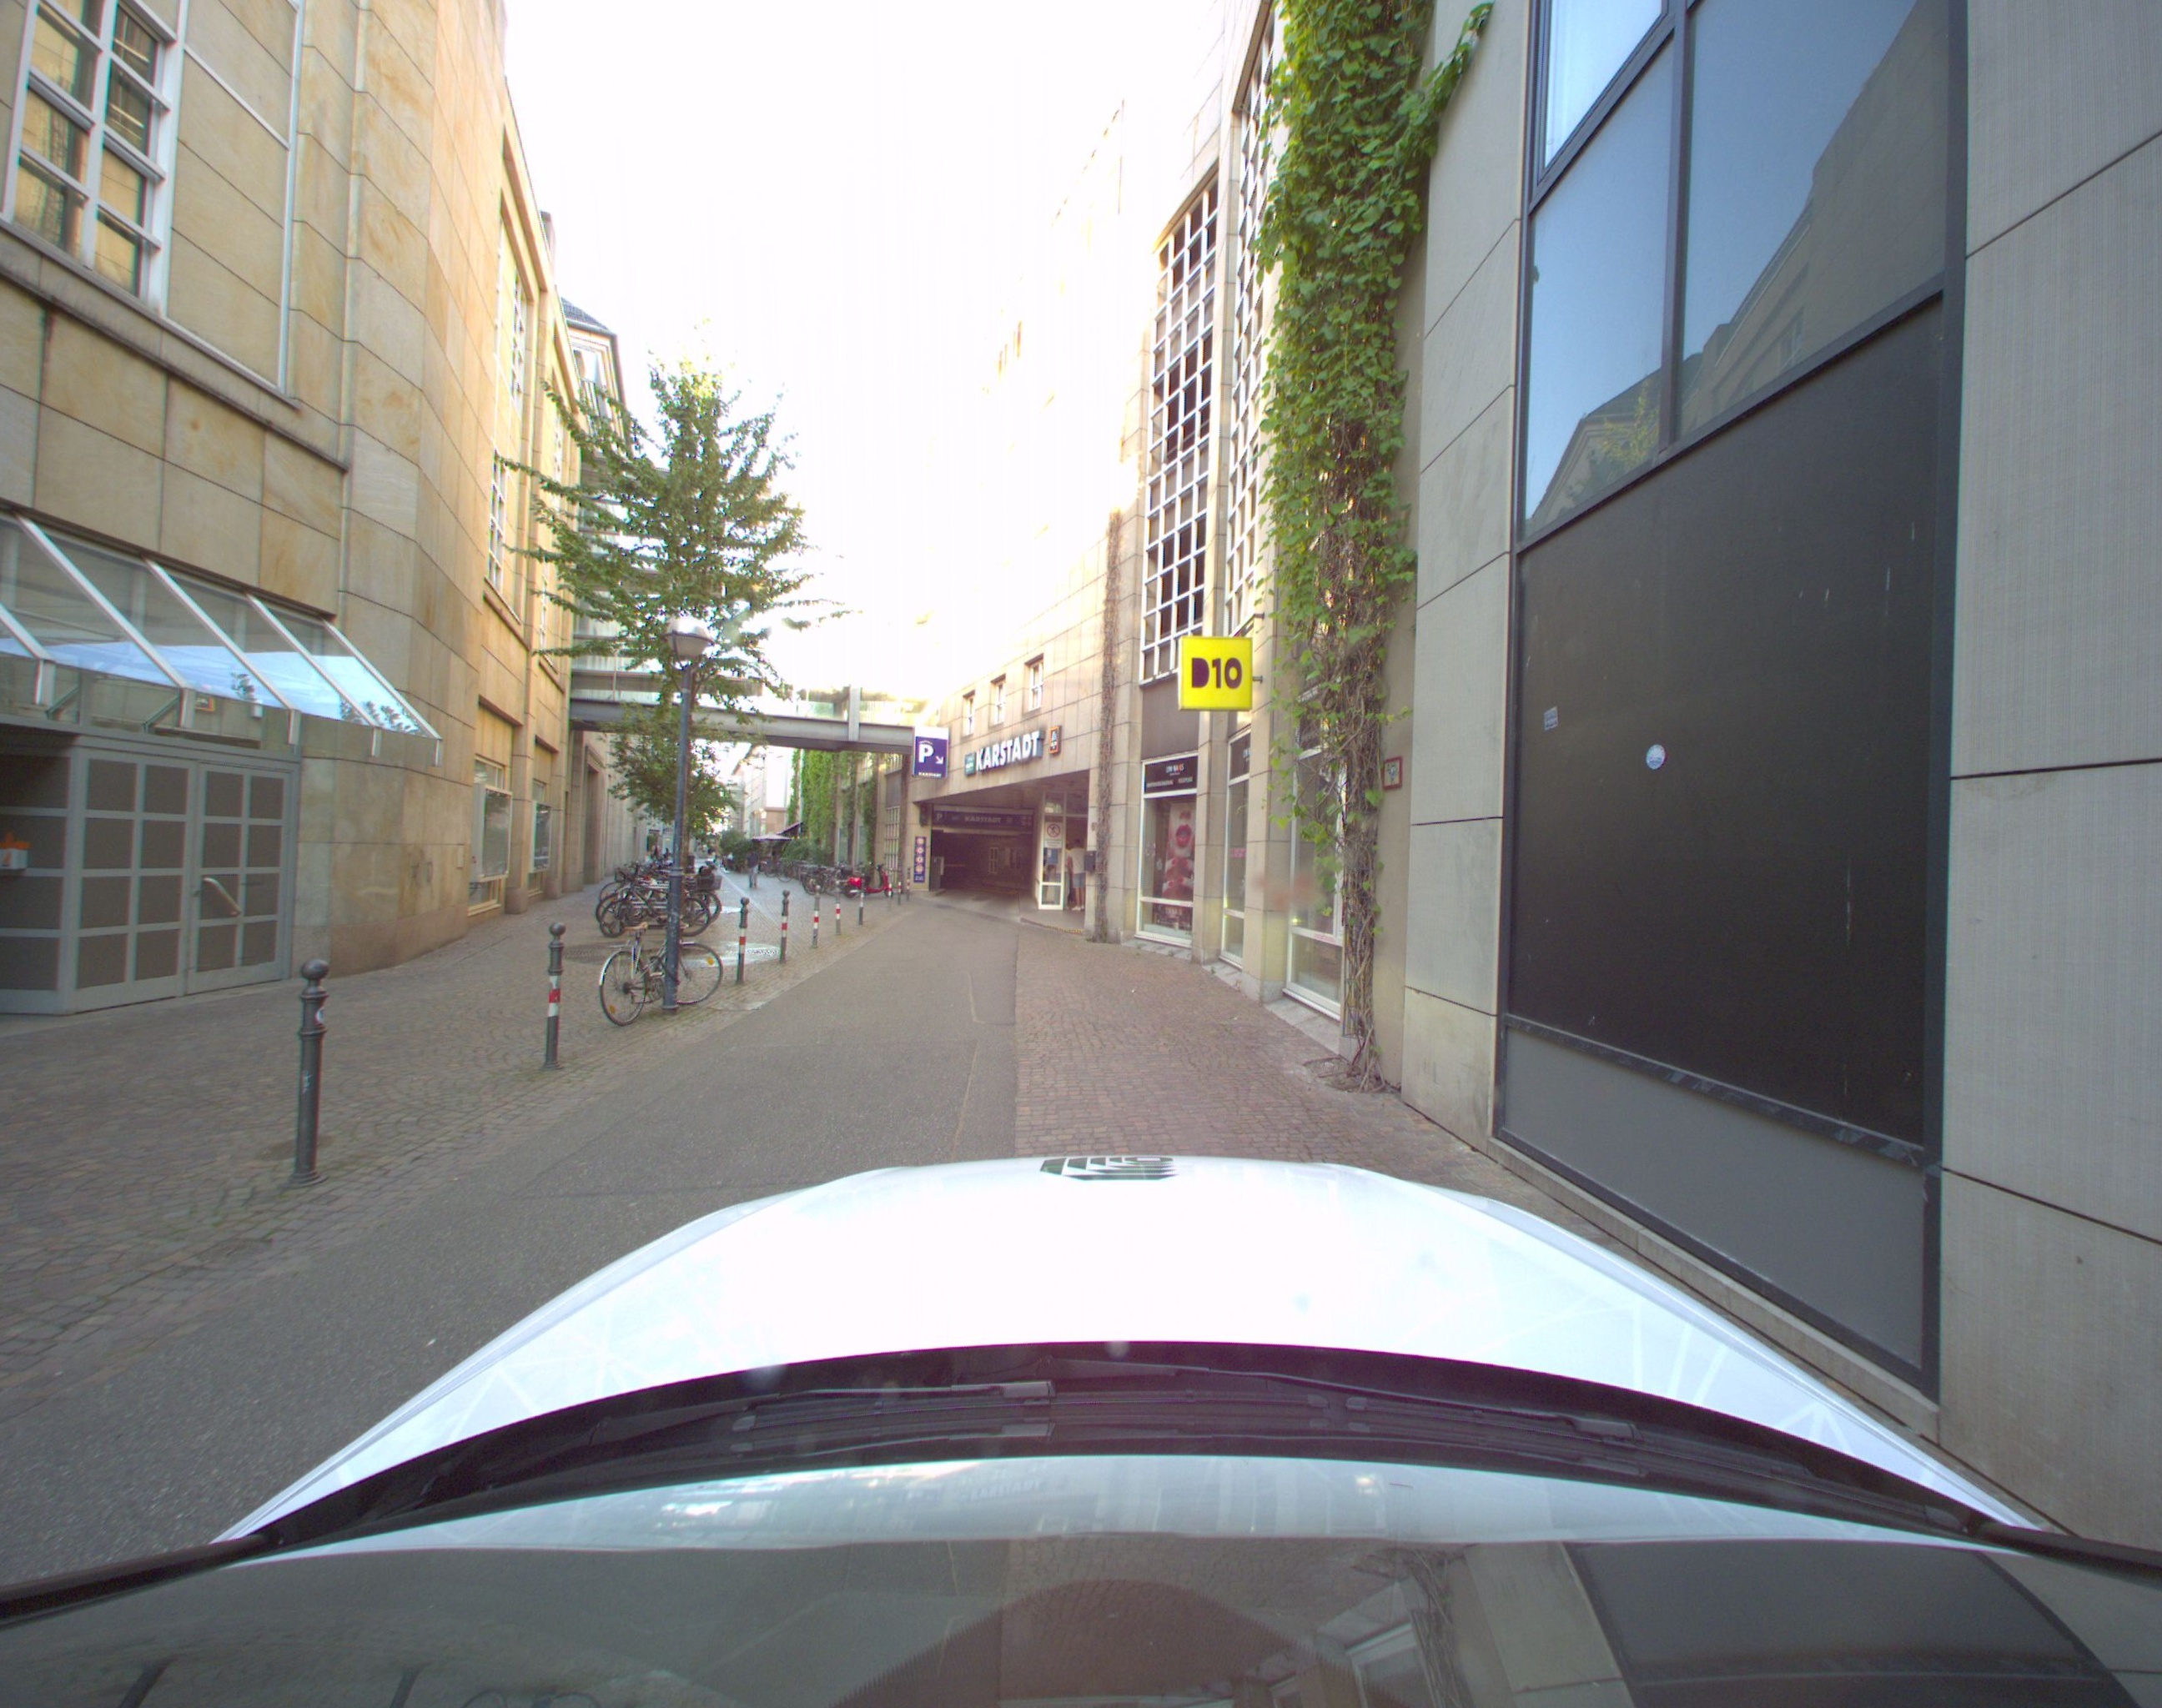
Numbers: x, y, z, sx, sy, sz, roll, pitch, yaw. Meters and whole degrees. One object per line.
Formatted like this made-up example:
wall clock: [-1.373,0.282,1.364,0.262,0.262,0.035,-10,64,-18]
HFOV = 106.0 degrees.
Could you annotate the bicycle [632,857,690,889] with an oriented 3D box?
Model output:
bicycle: [-16.251,0.722,31.547,1.920,1.182,0.691,2,0,-22]

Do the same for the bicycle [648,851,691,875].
bicycle: [-21.503,0.483,42.599,1.920,1.182,0.691,2,0,-22]

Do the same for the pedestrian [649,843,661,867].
pedestrian: [-33.130,0.073,63.320,0.778,1.804,0.628,1,-1,-27]

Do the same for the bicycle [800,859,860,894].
bicycle: [-9.101,0.800,29.534,2.003,1.182,0.796,0,0,-24]

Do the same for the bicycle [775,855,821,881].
bicycle: [-13.294,0.660,38.295,2.003,1.182,0.688,0,0,-24]

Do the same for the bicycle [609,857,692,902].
bicycle: [-11.899,0.712,22.571,1.920,1.182,0.691,2,0,-22]

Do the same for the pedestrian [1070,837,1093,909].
pedestrian: [0.018,0.502,21.522,0.540,1.861,0.408,2,0,1]

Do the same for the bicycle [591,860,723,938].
bicycle: [-7.257,0.754,14.053,1.922,1.261,0.802,2,0,-25]

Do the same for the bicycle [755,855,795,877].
bicycle: [-16.708,0.627,44.467,2.003,1.182,0.688,0,0,-24]

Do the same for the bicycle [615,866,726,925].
bicycle: [-8.175,0.826,16.305,1.922,1.101,0.690,2,0,-25]

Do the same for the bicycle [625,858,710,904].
bicycle: [-11.047,0.725,21.833,1.920,1.182,0.691,2,0,-22]

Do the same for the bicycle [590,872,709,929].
bicycle: [-8.107,0.872,15.390,1.922,0.994,0.690,2,0,-25]

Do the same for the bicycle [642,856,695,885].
bicycle: [-17.732,0.708,35.064,1.920,1.182,0.691,2,0,-22]

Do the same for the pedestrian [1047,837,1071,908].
pedestrian: [-0.586,0.488,21.703,0.540,1.846,0.408,2,0,1]

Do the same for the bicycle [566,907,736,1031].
bicycle: [-4.127,1.061,7.980,0.502,0.966,1.699,1,0,10]

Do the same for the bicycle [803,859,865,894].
bicycle: [-8.695,0.785,28.688,2.003,1.182,0.690,0,0,-24]

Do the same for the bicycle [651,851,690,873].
bicycle: [-23.424,0.472,46.496,1.920,1.182,0.691,2,0,-22]

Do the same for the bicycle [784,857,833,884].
bicycle: [-12.060,0.725,36.044,2.003,1.182,0.688,0,0,-24]

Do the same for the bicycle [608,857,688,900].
bicycle: [-12.459,0.696,23.487,1.920,1.182,0.691,2,0,-22]

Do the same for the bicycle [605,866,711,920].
bicycle: [-8.998,0.834,17.418,1.920,1.101,0.691,2,0,-22]

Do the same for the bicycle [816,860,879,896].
bicycle: [-7.988,0.804,27.892,2.003,1.182,0.690,0,0,-24]

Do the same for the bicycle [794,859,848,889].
bicycle: [-10.524,0.799,32.986,2.003,1.182,0.688,0,0,-24]

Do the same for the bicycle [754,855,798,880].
bicycle: [-14.938,0.650,39.859,2.003,1.182,0.688,0,0,-24]

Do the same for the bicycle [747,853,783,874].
bicycle: [-18.935,0.555,48.760,2.003,1.182,0.688,0,0,-24]

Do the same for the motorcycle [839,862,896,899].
motorcycle: [-6.896,0.847,26.315,1.753,1.155,0.590,0,0,-22]

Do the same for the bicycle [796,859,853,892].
bicycle: [-9.639,0.782,30.620,2.003,1.182,0.796,0,0,-24]

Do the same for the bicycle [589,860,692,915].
bicycle: [-9.831,0.757,18.243,1.920,1.182,0.691,2,0,-22]

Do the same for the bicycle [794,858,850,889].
bicycle: [-10.189,0.748,32.027,2.003,1.182,0.796,0,0,-24]

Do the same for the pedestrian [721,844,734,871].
pedestrian: [-24.489,0.243,56.468,0.769,1.804,0.770,1,-1,-26]

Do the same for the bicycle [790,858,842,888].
bicycle: [-10.995,0.774,33.776,2.003,1.182,0.688,0,0,-24]

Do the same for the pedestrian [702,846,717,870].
pedestrian: [-25.654,0.279,56.291,0.896,1.639,0.904,1,-1,-26]

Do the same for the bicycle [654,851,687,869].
bicycle: [-28.013,0.421,55.660,1.920,1.182,0.691,2,0,-22]

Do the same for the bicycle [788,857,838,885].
bicycle: [-11.533,0.712,35.017,2.003,1.182,0.688,0,0,-24]

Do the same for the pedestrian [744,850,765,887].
pedestrian: [-13.712,0.598,34.218,0.752,1.509,0.632,1,-1,-27]

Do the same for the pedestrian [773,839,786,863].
pedestrian: [-22.791,-0.221,61.538,0.778,1.804,0.761,1,-1,-27]

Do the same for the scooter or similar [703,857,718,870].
scooter or similar: [-25.265,0.672,55.465,0.896,0.843,0.904,1,0,-26]

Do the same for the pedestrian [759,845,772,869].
pedestrian: [-23.747,0.210,61.254,0.778,1.804,0.761,1,-1,-27]

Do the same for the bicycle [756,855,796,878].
bicycle: [-16.371,0.647,43.686,2.003,1.182,0.688,0,0,-24]

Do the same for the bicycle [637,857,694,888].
bicycle: [-16.550,0.749,32.486,1.920,1.182,0.691,2,0,-22]
